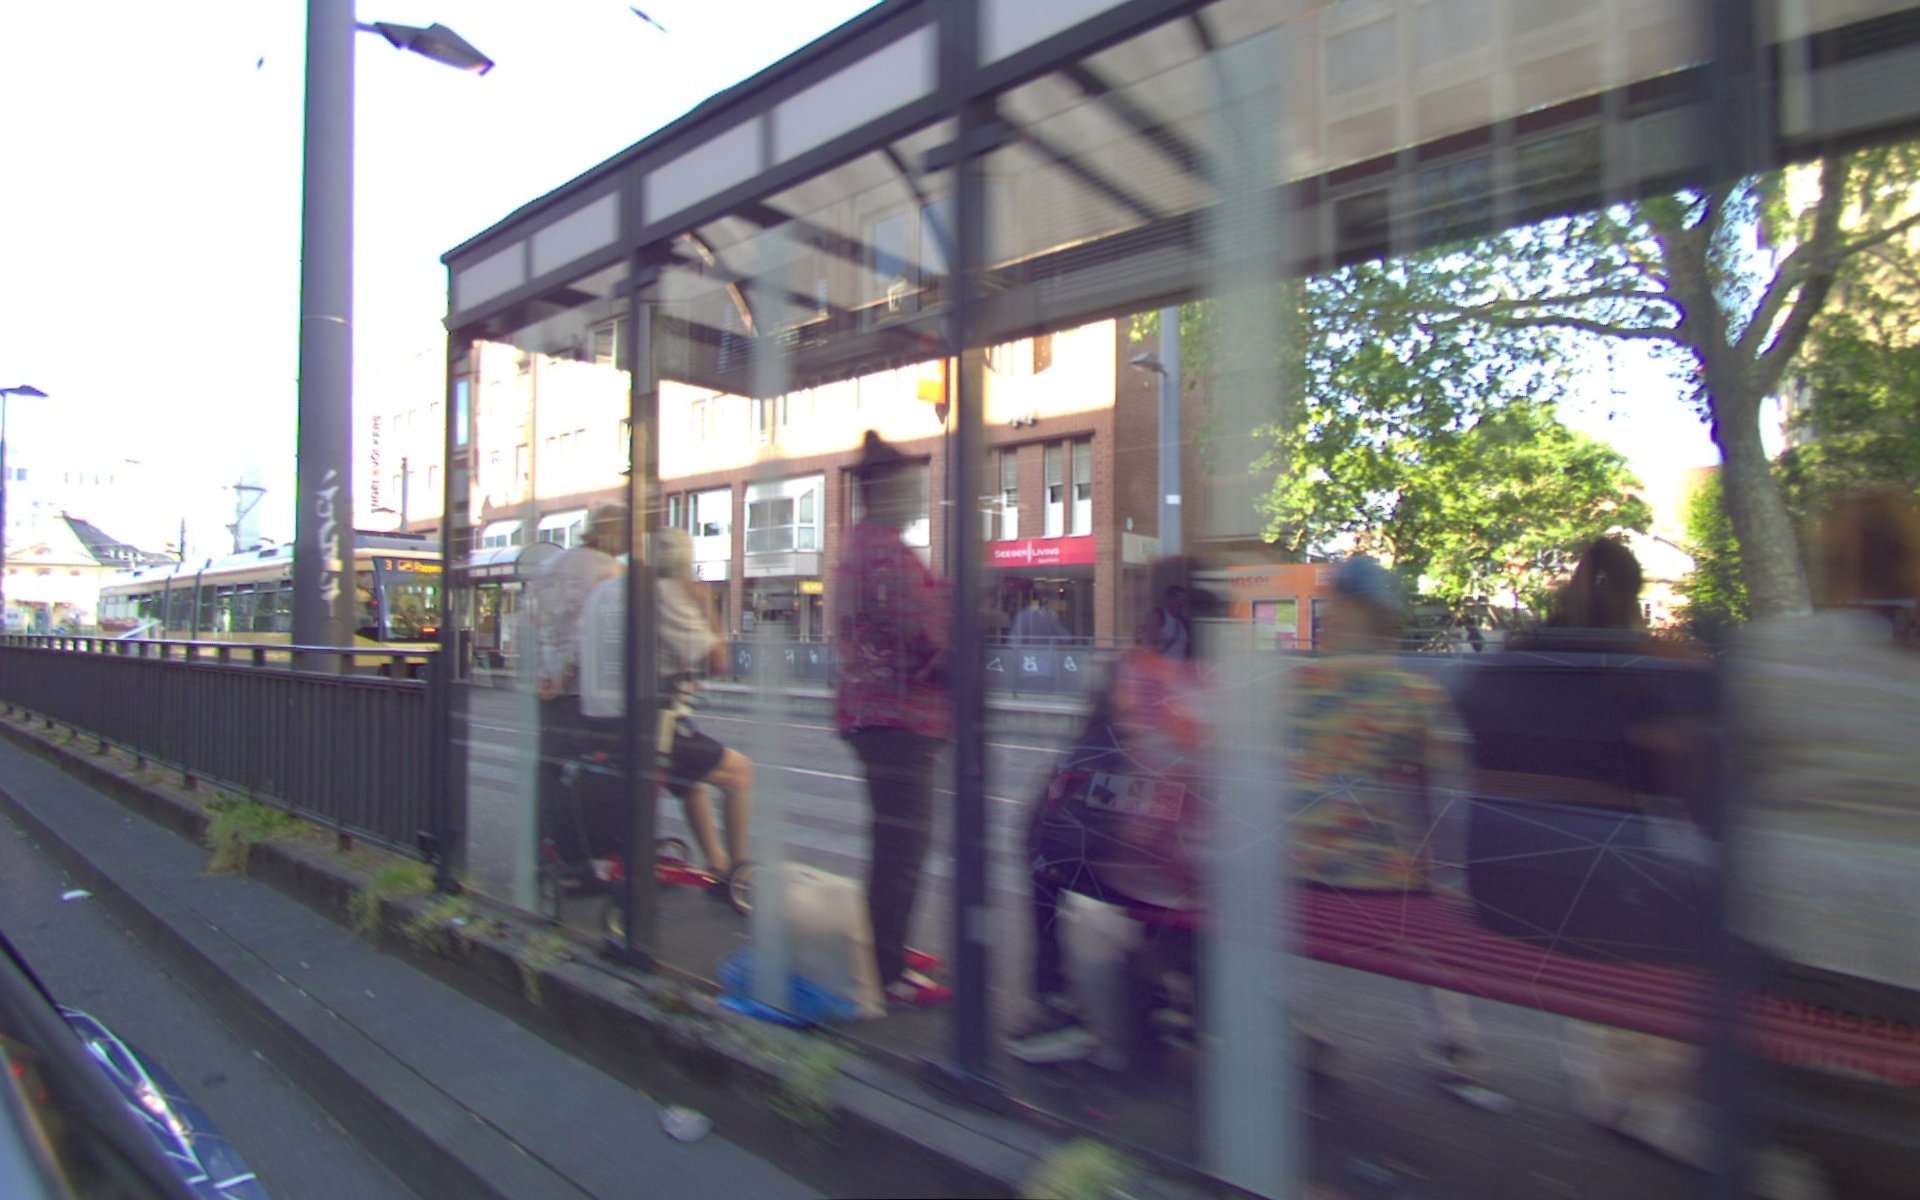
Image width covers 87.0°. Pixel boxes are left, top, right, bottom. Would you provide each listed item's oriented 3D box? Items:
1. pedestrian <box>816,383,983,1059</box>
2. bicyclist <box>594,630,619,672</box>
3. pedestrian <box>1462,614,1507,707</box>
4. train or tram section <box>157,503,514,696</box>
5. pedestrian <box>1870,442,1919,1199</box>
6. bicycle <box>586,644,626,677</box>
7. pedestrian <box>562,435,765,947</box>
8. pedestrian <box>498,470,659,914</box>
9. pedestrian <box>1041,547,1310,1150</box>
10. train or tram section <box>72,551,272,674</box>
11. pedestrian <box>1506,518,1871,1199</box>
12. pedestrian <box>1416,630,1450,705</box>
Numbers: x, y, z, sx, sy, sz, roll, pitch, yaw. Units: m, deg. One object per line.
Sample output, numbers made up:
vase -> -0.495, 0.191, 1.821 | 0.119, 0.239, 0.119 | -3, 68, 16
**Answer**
pedestrian -> -0.179, 0.283, 2.678 | 0.316, 1.584, 0.545 | 0, -1, -16
bicyclist -> -12.605, 1.809, 36.090 | 0.840, 1.478, 0.500 | -1, -2, 41
pedestrian -> 10.867, 1.238, 20.979 | 0.626, 1.896, 0.698 | -2, -2, 44
train or tram section -> -16.677, 0.208, 25.789 | 16.475, 3.672, 2.943 | -2, -1, 41
pedestrian -> 1.628, 0.415, 1.435 | 0.460, 1.262, 0.535 | -1, -1, 39
bicycle -> -12.637, 2.153, 36.109 | 1.813, 1.123, 0.500 | -1, -2, 41
pedestrian -> -1.026, 0.285, 3.490 | 0.592, 1.585, 0.420 | -2, -2, 41
pedestrian -> -1.476, 0.331, 3.921 | 0.447, 1.585, 0.420 | -2, -2, 41
pedestrian -> 0.475, 0.480, 2.240 | 0.460, 1.161, 0.362 | -1, -1, 40
train or tram section -> -28.146, 0.481, 35.696 | 13.935, 3.672, 2.943 | -1, -1, 41
pedestrian -> 1.254, 0.464, 1.759 | 0.460, 1.161, 0.404 | -1, -1, 40
pedestrian -> 9.873, 1.389, 21.109 | 0.474, 1.541, 0.577 | -2, -2, 41
